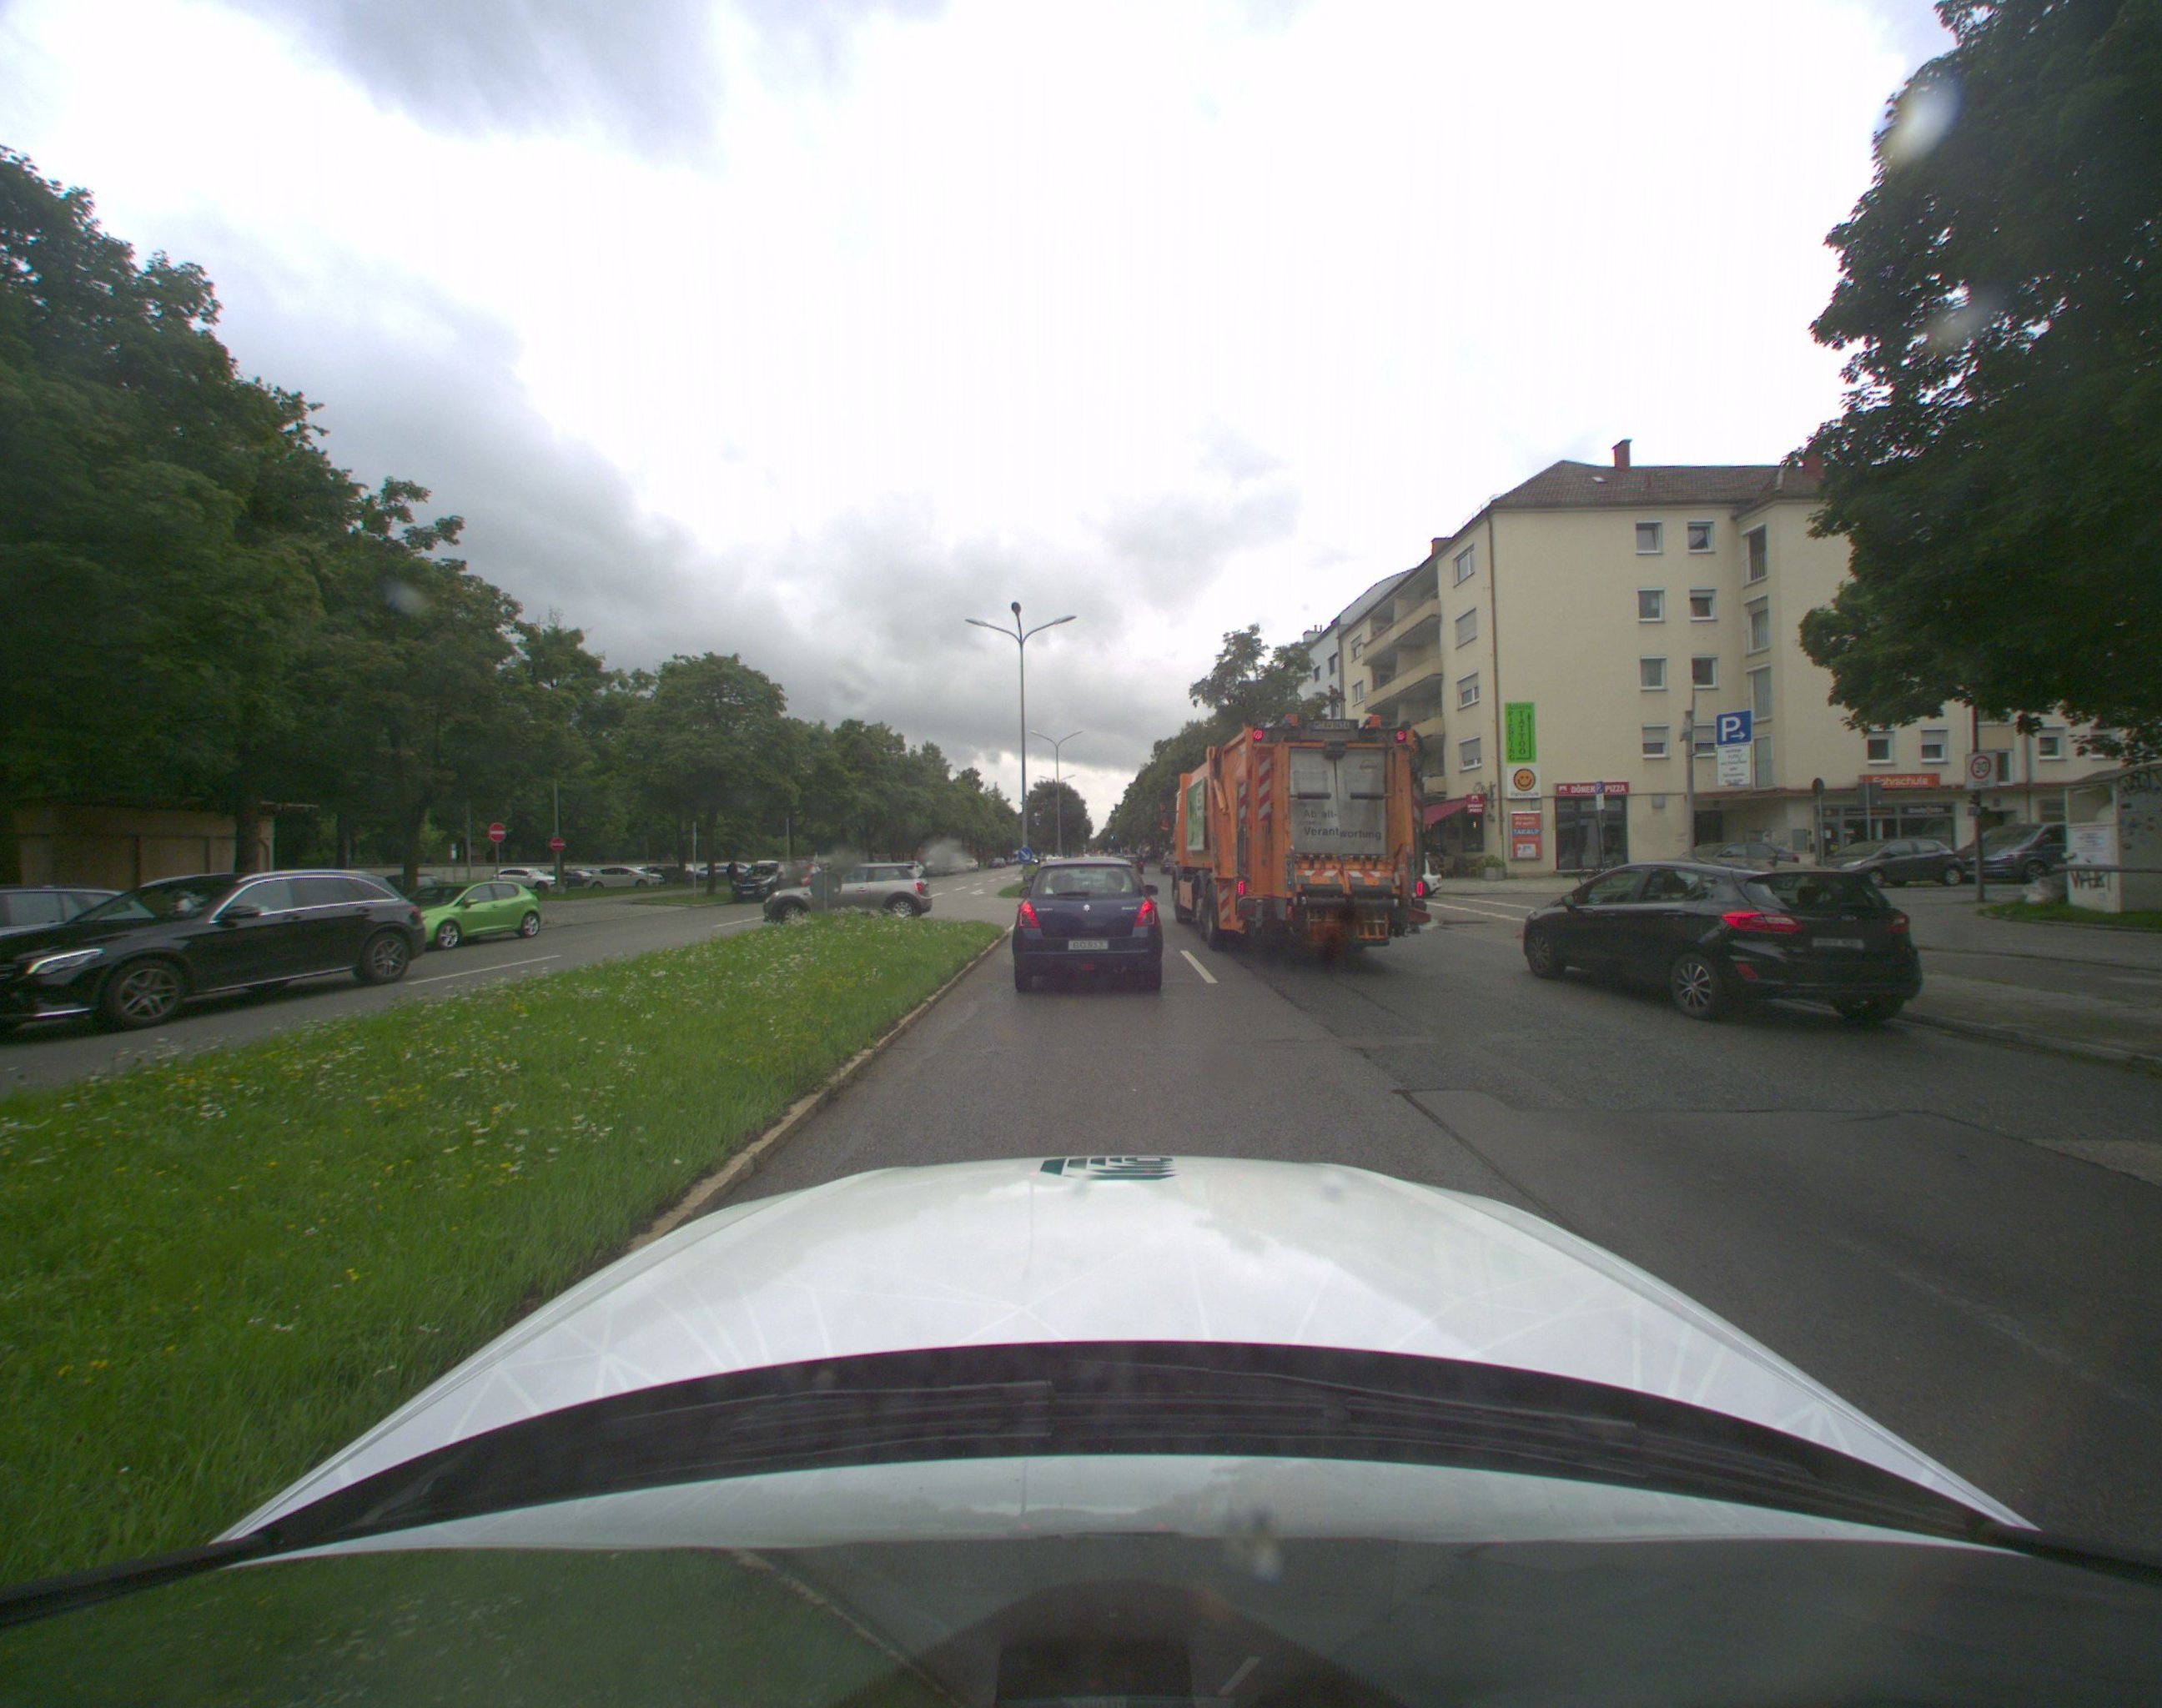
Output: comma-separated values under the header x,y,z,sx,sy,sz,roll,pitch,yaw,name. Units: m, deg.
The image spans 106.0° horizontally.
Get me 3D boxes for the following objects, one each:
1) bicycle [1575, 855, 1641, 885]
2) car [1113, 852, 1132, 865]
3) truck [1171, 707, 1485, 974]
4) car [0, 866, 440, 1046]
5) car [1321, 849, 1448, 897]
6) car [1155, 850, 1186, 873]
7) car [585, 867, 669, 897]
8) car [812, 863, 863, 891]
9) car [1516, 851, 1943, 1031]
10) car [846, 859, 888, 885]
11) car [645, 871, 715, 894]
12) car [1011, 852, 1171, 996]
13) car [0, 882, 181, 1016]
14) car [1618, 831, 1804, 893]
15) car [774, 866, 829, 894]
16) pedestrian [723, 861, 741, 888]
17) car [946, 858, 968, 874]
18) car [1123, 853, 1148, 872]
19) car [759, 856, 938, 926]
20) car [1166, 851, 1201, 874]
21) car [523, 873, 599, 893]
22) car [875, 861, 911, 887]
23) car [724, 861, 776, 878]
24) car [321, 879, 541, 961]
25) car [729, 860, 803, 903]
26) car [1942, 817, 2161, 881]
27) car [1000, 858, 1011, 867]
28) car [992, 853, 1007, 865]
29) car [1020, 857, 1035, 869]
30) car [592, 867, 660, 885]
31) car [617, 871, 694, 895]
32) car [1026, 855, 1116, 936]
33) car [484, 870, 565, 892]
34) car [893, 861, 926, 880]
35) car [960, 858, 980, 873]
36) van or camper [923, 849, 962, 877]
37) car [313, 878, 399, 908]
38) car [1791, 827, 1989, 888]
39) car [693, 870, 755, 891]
x,y,z,sx,sy,sz,roll,pitch,yaw,name
17.694,0.537,27.347,1.842,0.957,0.557,-1,-1,-1,bicycle
4.538,0.491,89.355,1.726,1.432,4.439,0,0,-2,car
3.492,-0.164,14.419,3.027,3.189,9.137,-1,0,2,truck
-10.635,1.039,10.037,1.760,1.623,4.507,-3,0,1,car
9.766,0.615,26.232,3.514,1.417,1.883,-2,0,30,car
6.773,0.552,61.917,1.860,1.682,4.223,-2,0,-1,car
-26.601,1.623,47.825,3.911,1.718,1.670,-1,0,-5,car
-13.603,1.243,45.677,1.662,1.445,3.879,-1,0,0,car
6.315,0.721,8.536,1.611,1.465,3.675,0,0,1,car
-13.407,1.107,51.244,1.585,1.558,3.879,-1,0,0,car
-26.959,1.933,54.834,3.859,1.445,1.670,-1,0,-5,car
0.109,0.739,10.638,1.677,1.502,3.918,-1,0,0,car
-14.316,1.267,9.945,1.685,1.586,4.371,-3,0,0,car
19.398,0.233,25.183,4.384,1.661,1.869,-2,0,-4,car
-13.915,1.272,40.704,1.585,1.312,3.380,-1,0,0,car
-20.299,1.170,47.398,0.725,1.534,0.721,-1,-1,1,pedestrian
-12.901,1.258,85.019,1.627,1.583,3.879,-1,0,0,car
4.260,0.635,63.844,1.752,1.413,4.463,0,0,1,car
-5.333,0.826,19.056,3.714,1.463,1.685,-1,0,-4,car
7.152,0.553,57.090,1.860,1.517,4.223,-2,0,-1,car
-38.946,2.168,61.066,4.674,1.445,1.673,-1,0,1,car
-13.235,1.363,57.619,1.627,1.741,3.879,-1,0,0,car
-29.412,1.411,72.430,3.859,1.445,1.670,-1,0,-5,car
-14.192,1.373,18.101,1.541,1.409,3.883,-3,0,4,car
-13.740,1.169,35.789,1.711,1.741,3.879,-1,0,0,car
30.423,-0.154,25.624,4.721,1.773,1.871,-2,0,-1,car
-13.451,1.426,145.812,1.627,1.583,3.879,-1,0,0,car
-11.529,0.705,115.690,1.627,1.583,3.879,-1,0,0,car
-6.954,1.136,106.545,1.627,1.552,3.879,-1,0,0,car
-37.540,1.808,67.281,4.674,1.445,1.673,-1,0,1,car
-26.479,1.791,50.734,3.859,1.445,1.670,-1,0,-5,car
-0.281,0.775,16.752,1.443,1.483,3.098,-1,0,-8,car
-38.550,1.882,56.494,4.489,1.476,1.673,-1,-1,1,car
-13.225,1.245,62.956,1.627,1.431,3.879,-1,0,0,car
-12.599,1.285,92.666,1.627,1.583,3.879,-1,0,0,car
-13.026,0.803,77.143,2.109,2.482,7.452,-1,0,2,van or camper
-31.593,1.671,35.449,4.363,1.201,1.683,-1,-1,33,car
24.951,0.103,25.217,4.382,1.661,1.870,-2,0,-2,car
-26.382,1.924,60.254,3.859,1.445,1.670,-1,0,-5,car
